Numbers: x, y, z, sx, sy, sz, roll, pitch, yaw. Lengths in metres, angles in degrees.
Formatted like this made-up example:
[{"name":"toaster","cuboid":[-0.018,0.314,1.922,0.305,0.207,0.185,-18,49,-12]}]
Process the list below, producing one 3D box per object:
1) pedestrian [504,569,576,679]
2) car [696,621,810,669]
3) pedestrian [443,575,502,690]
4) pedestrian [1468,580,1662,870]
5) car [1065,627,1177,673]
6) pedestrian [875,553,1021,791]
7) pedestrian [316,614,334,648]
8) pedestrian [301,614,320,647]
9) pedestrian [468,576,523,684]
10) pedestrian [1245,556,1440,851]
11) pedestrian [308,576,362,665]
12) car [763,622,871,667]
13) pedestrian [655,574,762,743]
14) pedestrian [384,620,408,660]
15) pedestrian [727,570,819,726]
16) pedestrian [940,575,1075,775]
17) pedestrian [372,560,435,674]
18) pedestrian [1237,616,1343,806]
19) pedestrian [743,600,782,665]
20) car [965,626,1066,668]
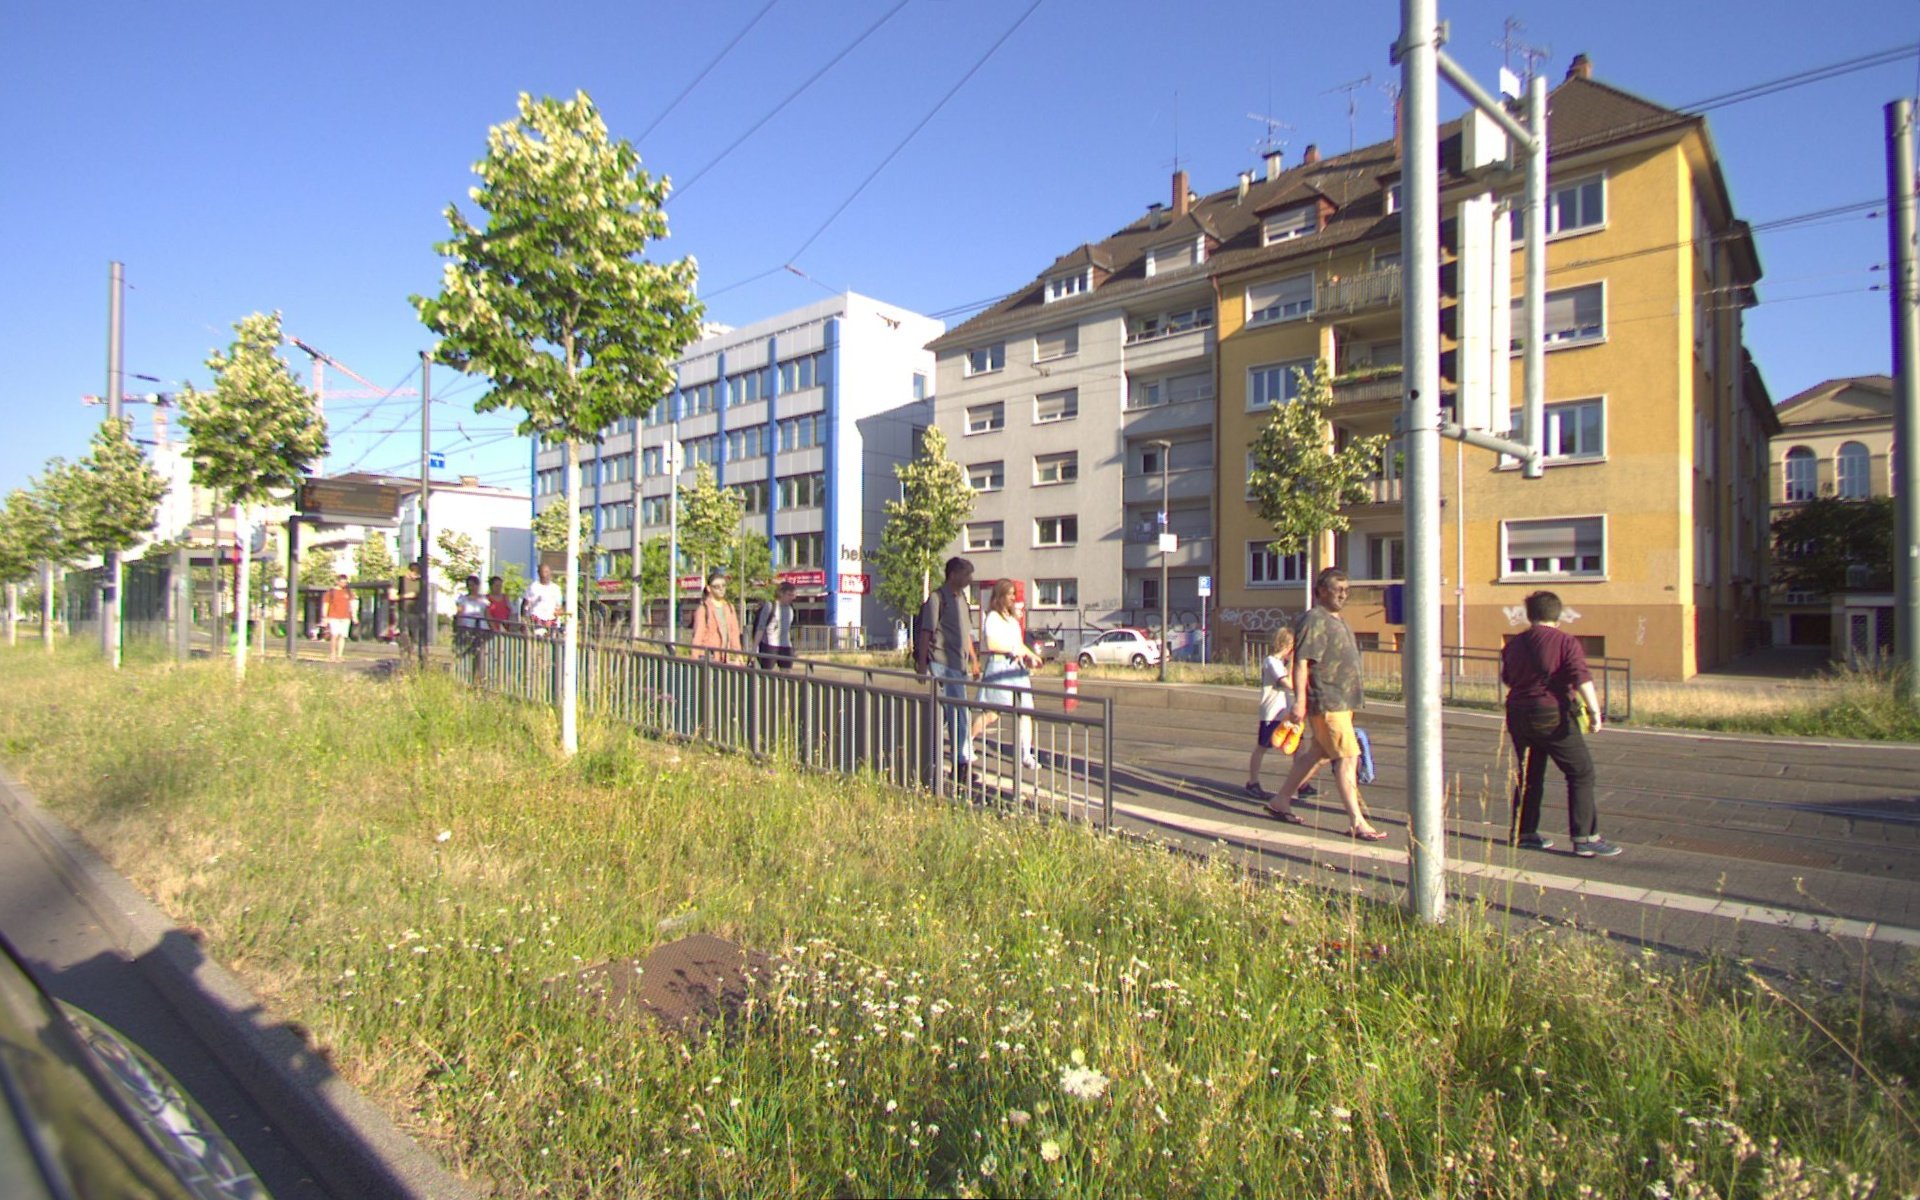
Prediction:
[{"name":"pedestrian","cuboid":[-6.120,0.337,14.765,0.620,1.560,0.776,-1,0,44]},{"name":"car","cuboid":[-7.220,1.515,35.142,3.941,1.519,1.861,-1,0,41]},{"name":"pedestrian","cuboid":[-6.410,0.410,13.301,0.627,1.467,0.526,-1,0,-33]},{"name":"pedestrian","cuboid":[3.613,0.689,6.072,0.598,1.600,0.791,-1,0,-30]},{"name":"car","cuboid":[5.930,1.809,37.374,3.672,1.519,1.861,-1,0,41]},{"name":"pedestrian","cuboid":[-0.097,0.550,8.328,0.900,1.815,0.777,-1,0,42]},{"name":"pedestrian","cuboid":[-31.910,1.552,50.848,0.650,1.705,0.773,-1,0,-43]},{"name":"pedestrian","cuboid":[-33.622,1.574,52.391,0.772,1.705,0.651,-1,0,44]},{"name":"pedestrian","cuboid":[-6.405,0.398,13.959,0.627,1.442,0.526,-1,0,-31]},{"name":"pedestrian","cuboid":[2.480,0.618,6.639,0.763,1.771,0.903,-1,0,-20]},{"name":"pedestrian","cuboid":[-12.323,0.401,19.958,0.620,1.711,0.776,-1,0,44]},{"name":"car","cuboid":[-5.344,1.618,37.569,3.941,1.519,1.861,-1,0,41]},{"name":"pedestrian","cuboid":[-2.417,0.535,9.738,0.776,1.547,0.620,-1,0,-45]},{"name":"pedestrian","cuboid":[-24.589,1.733,44.109,0.771,1.705,0.651,-1,0,39]},{"name":"pedestrian","cuboid":[-2.064,0.506,11.198,0.619,1.653,0.778,-1,0,39]},{"name":"pedestrian","cuboid":[0.424,0.624,8.952,0.899,1.653,0.778,-1,0,39]},{"name":"pedestrian","cuboid":[-9.436,0.281,17.154,0.620,1.878,0.776,-1,0,44]},{"name":"pedestrian","cuboid":[2.551,0.817,7.811,0.607,1.370,0.589,-1,0,37]},{"name":"pedestrian","cuboid":[-5.216,0.851,26.735,0.620,1.685,0.776,-1,0,44]},{"name":"car","cuboid":[2.181,1.857,40.471,3.672,1.519,1.861,-1,0,41]}]
